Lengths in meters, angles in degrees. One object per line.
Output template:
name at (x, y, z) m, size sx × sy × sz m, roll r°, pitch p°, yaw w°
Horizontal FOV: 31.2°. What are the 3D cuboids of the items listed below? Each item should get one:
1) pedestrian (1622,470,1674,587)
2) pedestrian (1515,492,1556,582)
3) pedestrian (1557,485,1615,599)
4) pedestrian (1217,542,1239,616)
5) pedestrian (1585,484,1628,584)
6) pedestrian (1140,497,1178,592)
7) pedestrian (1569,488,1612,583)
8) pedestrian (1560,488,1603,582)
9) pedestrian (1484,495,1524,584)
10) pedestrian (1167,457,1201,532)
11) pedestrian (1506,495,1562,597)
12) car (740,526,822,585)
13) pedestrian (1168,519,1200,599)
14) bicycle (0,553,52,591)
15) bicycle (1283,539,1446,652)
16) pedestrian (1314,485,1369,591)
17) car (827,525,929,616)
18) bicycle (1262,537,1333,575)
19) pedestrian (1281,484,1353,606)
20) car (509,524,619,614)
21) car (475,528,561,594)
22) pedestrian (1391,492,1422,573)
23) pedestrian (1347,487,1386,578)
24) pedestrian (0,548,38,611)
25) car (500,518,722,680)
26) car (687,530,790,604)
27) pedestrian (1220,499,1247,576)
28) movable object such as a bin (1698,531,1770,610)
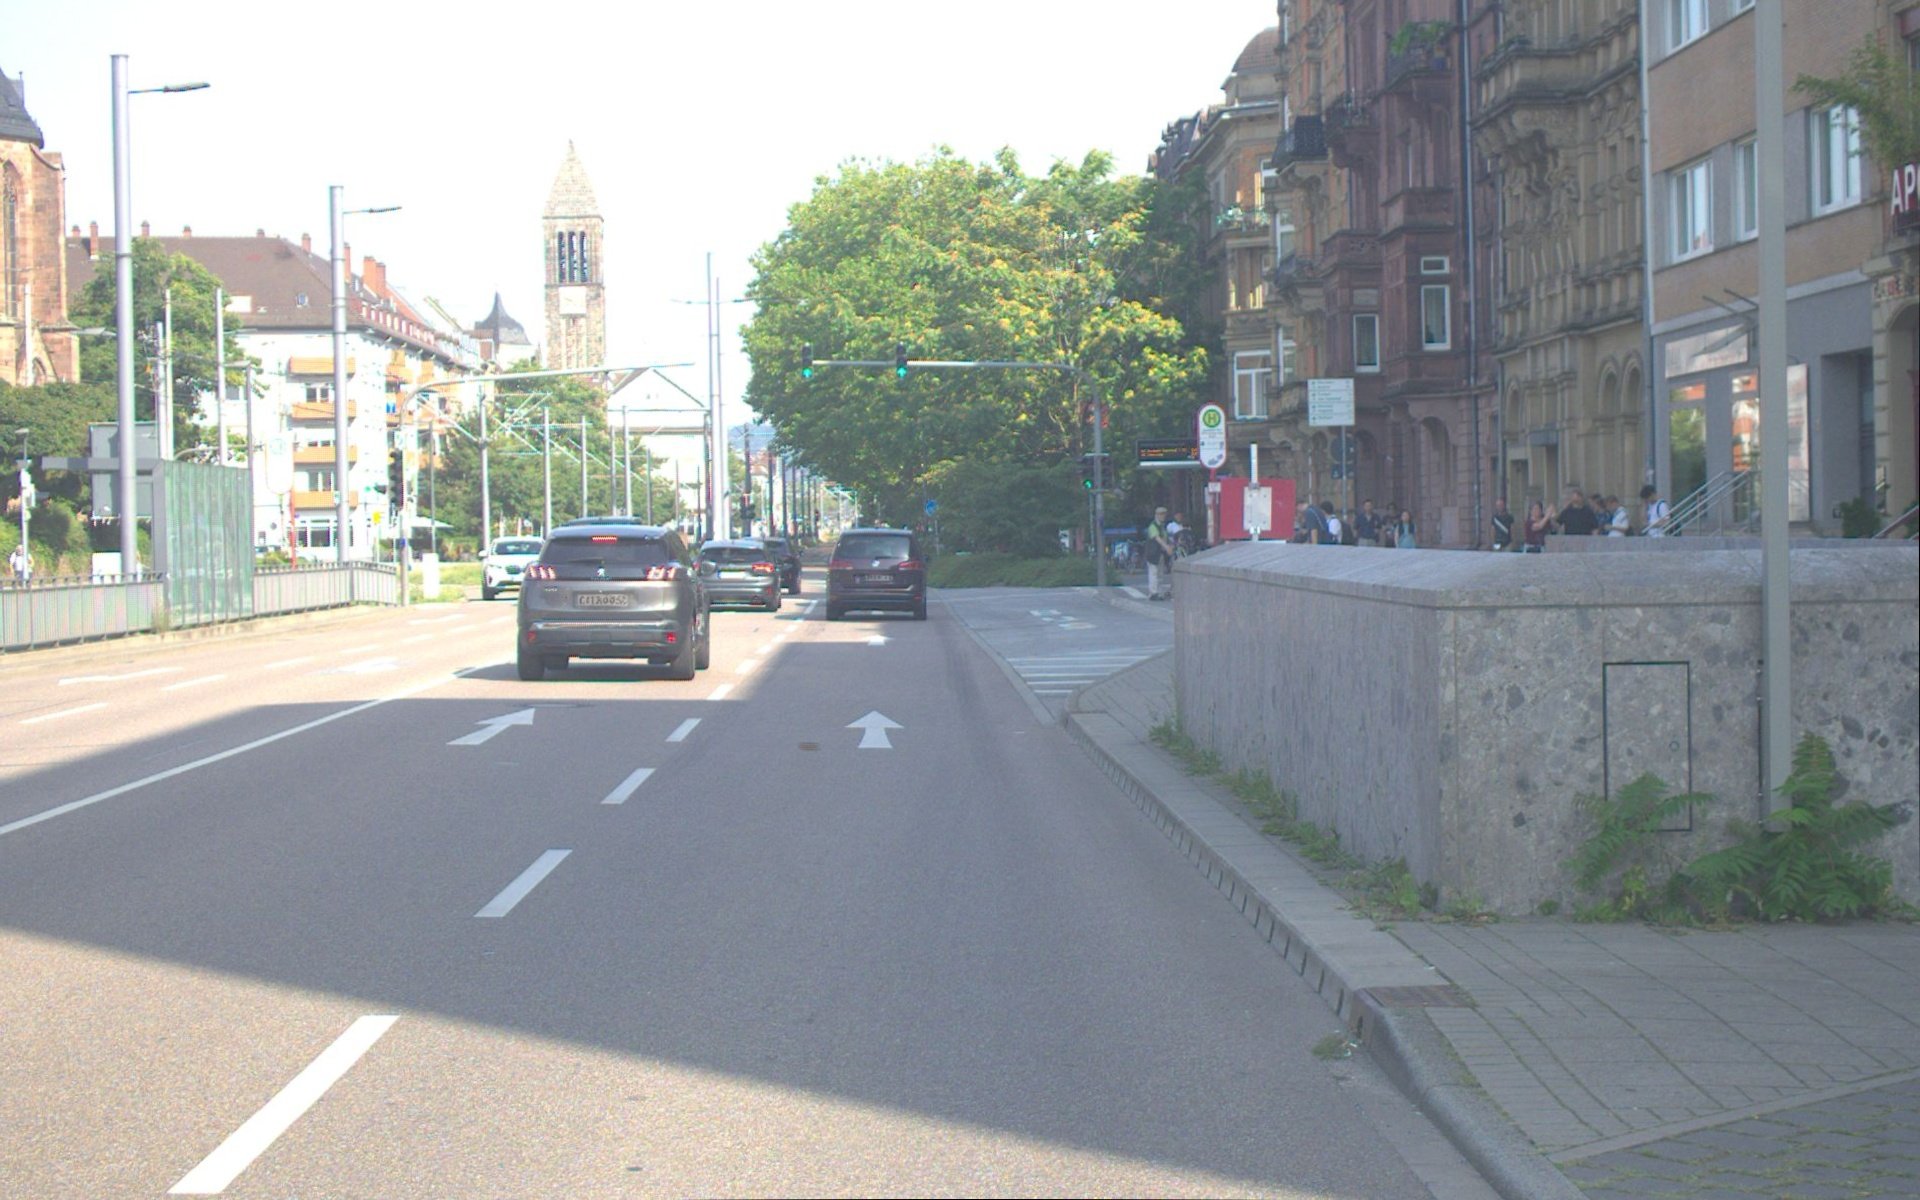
pedestrian at (10.845, -1.127, 54.220) m, size 0.603 × 1.825 × 0.742 m, roll -1°, pitch 1°, yaw -4°
pedestrian at (10.702, -1.174, 63.926) m, size 0.603 × 1.649 × 0.587 m, roll -1°, pitch 1°, yaw -4°
pedestrian at (9.894, -0.921, 54.354) m, size 0.720 × 1.781 × 0.856 m, roll -1°, pitch 1°, yaw 0°
pedestrian at (4.667, -0.371, 59.900) m, size 0.275 × 1.270 × 0.448 m, roll -1°, pitch 1°, yaw -8°
pedestrian at (11.296, -1.159, 60.086) m, size 0.603 × 1.725 × 0.511 m, roll -1°, pitch 1°, yaw -4°
pedestrian at (3.632, -1.018, 62.760) m, size 0.565 × 1.723 × 0.745 m, roll -1°, pitch 1°, yaw -4°
pedestrian at (11.219, -1.150, 61.180) m, size 0.603 × 1.686 × 0.587 m, roll -1°, pitch 1°, yaw -4°
pedestrian at (11.190, -1.172, 61.906) m, size 0.603 × 1.686 × 0.587 m, roll -1°, pitch 1°, yaw -4°
pedestrian at (10.594, -1.173, 66.995) m, size 0.629 × 1.713 × 0.691 m, roll -1°, pitch 1°, yaw -1°
pedestrian at (5.037, -2.363, 77.295) m, size 0.690 × 1.658 × 0.619 m, roll -1°, pitch 1°, yaw -1°
pedestrian at (9.088, -0.859, 54.466) m, size 0.720 × 1.604 × 0.856 m, roll -1°, pitch 1°, yaw 0°
car at (-4.454, -1.131, 85.964) m, size 1.864 × 1.419 × 4.357 m, roll 0°, pitch 2°, yaw -1°
pedestrian at (4.563, -0.847, 70.112) m, size 0.528 × 1.606 × 0.703 m, roll -1°, pitch 1°, yaw -4°
bicycle at (-25.237, -0.742, 91.957) m, size 1.759 × 0.974 × 0.479 m, roll -1°, pitch 1°, yaw 8°
bicycle at (4.269, -0.054, 36.322) m, size 1.633 × 1.144 × 0.601 m, roll -1°, pitch 1°, yaw 1°
pedestrian at (6.294, -1.022, 56.735) m, size 0.749 × 1.723 × 0.801 m, roll -1°, pitch 1°, yaw -4°
car at (-1.507, -0.582, 64.024) m, size 1.831 × 1.615 × 4.357 m, roll 0°, pitch 2°, yaw -1°
bicycle at (9.539, -1.247, 97.115) m, size 1.927 × 1.044 × 0.500 m, roll -1°, pitch 1°, yaw -6°
pedestrian at (5.438, -0.838, 52.415) m, size 0.925 × 1.825 × 0.801 m, roll -1°, pitch 1°, yaw -4°
car at (-8.964, -0.743, 78.123) m, size 1.993 × 1.897 × 4.717 m, roll -2°, pitch 1°, yaw -1°
car at (-11.506, -1.037, 89.696) m, size 1.713 × 1.606 × 4.505 m, roll -2°, pitch 1°, yaw -1°
pedestrian at (8.963, -1.352, 68.995) m, size 0.486 × 1.604 × 0.813 m, roll -1°, pitch 1°, yaw 0°
pedestrian at (8.152, -1.360, 68.989) m, size 0.617 × 1.798 × 1.071 m, roll -1°, pitch 1°, yaw 0°
pedestrian at (-25.235, -0.549, 91.965) m, size 0.917 × 1.673 × 0.602 m, roll -1°, pitch 1°, yaw 8°
car at (-3.686, -0.057, 36.951) m, size 1.993 × 1.615 × 4.357 m, roll 0°, pitch 2°, yaw -1°
car at (-4.489, -0.697, 70.050) m, size 1.864 × 1.419 × 4.357 m, roll 0°, pitch 2°, yaw -1°
pedestrian at (6.101, -1.396, 76.685) m, size 0.481 × 1.696 × 0.703 m, roll -1°, pitch 1°, yaw -4°
movable object such as a bin at (10.852, -0.416, 48.192) m, size 0.736 × 1.077 × 0.670 m, roll -2°, pitch 1°, yaw -18°
